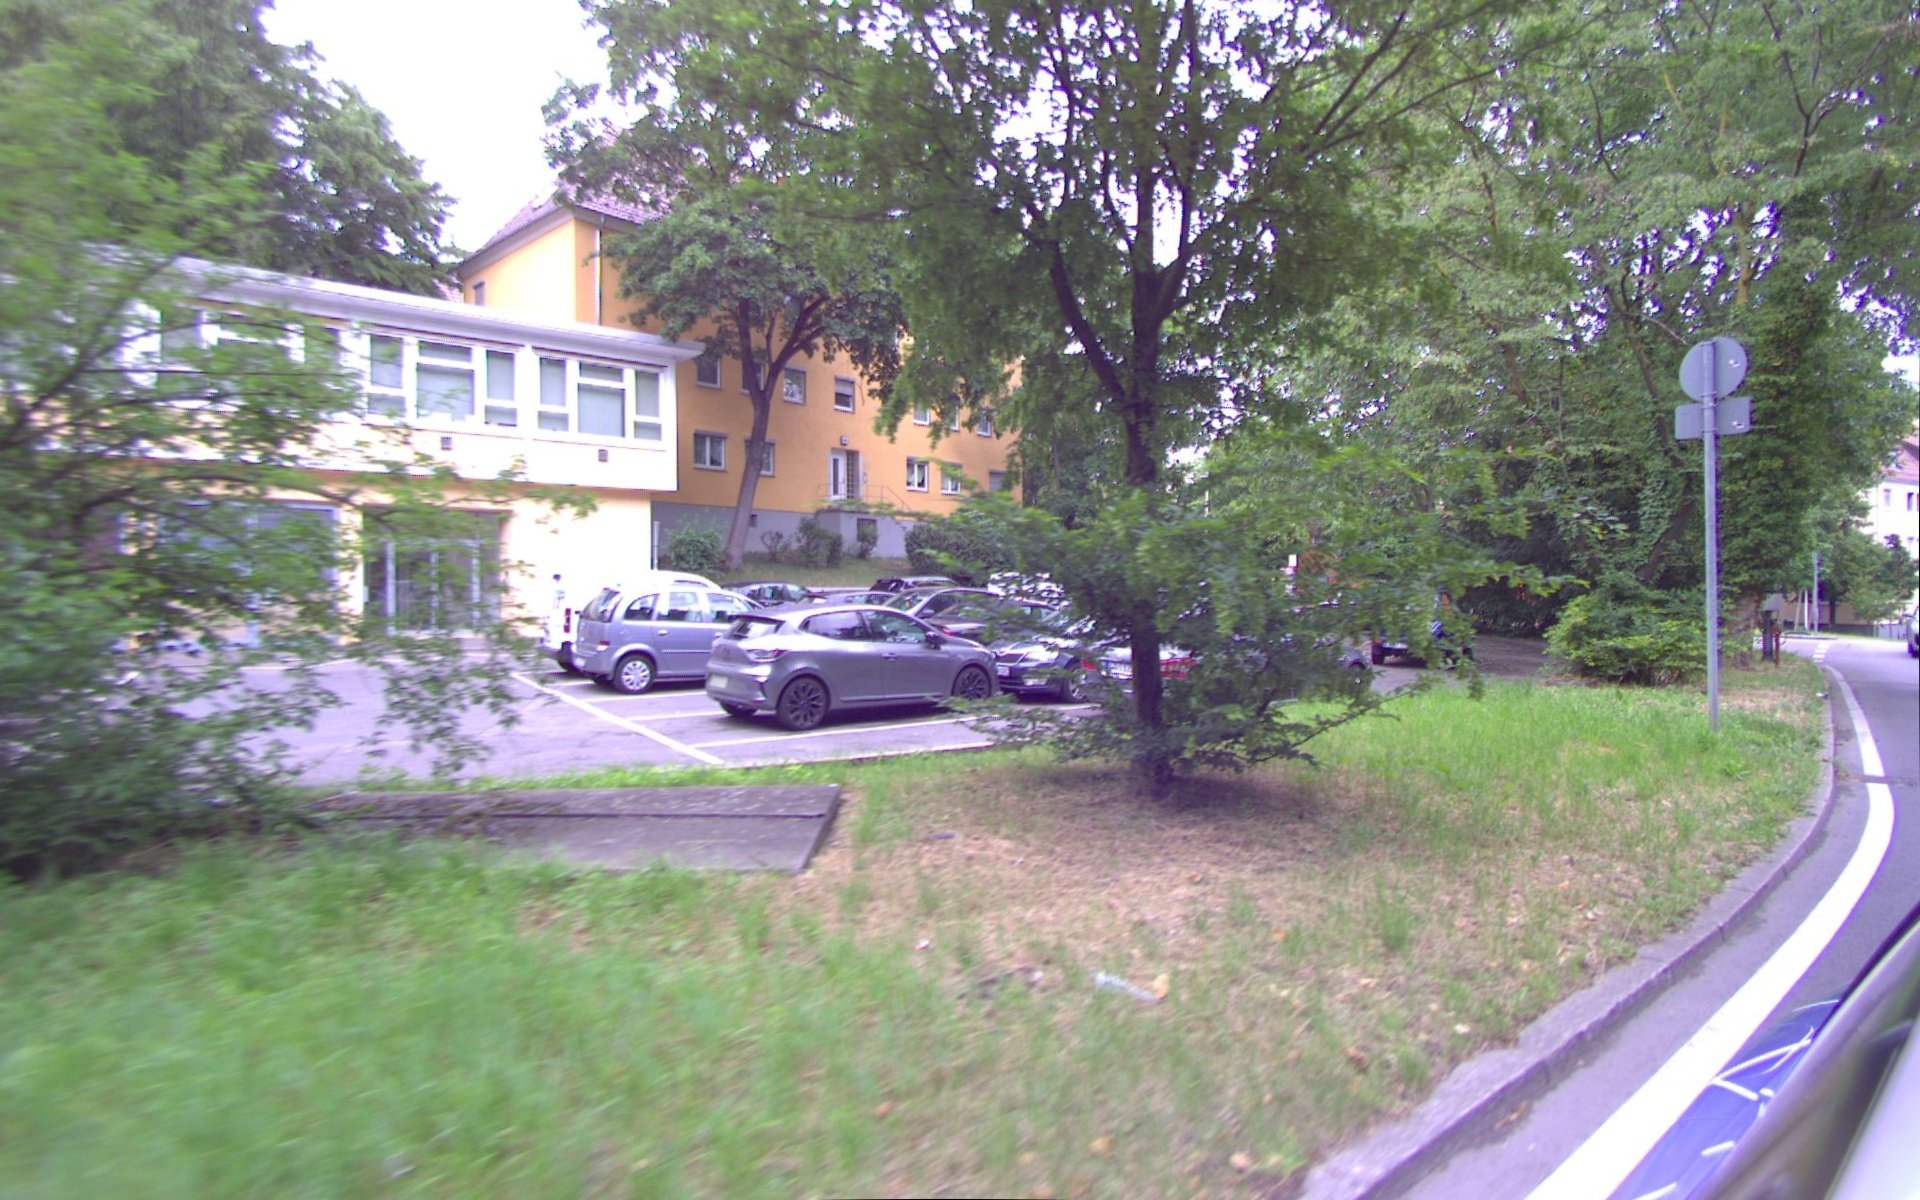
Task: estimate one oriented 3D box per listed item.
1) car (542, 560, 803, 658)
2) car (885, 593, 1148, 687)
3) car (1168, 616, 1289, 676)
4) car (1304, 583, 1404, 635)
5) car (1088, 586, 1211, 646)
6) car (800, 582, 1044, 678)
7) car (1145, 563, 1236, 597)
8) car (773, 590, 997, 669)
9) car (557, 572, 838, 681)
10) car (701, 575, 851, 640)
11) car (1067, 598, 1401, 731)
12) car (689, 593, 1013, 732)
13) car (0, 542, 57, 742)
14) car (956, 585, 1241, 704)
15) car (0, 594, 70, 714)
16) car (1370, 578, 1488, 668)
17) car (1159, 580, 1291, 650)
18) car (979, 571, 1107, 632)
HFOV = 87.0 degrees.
[{"bbox_3d":[-5.192,0.195,18.437,4.161,1.460,1.813,4,-2,-33],"label":"car"},{"bbox_3d":[1.066,0.610,17.426,4.511,1.396,1.789,0,1,-39],"label":"car"},{"bbox_3d":[8.472,1.359,31.610,1.989,1.598,4.840,2,1,37],"label":"car"},{"bbox_3d":[14.771,0.285,38.197,1.827,1.503,4.431,4,4,-2],"label":"car"},{"bbox_3d":[5.261,0.367,27.728,1.727,1.446,4.078,3,3,36],"label":"car"},{"bbox_3d":[-0.652,0.505,19.033,4.321,1.614,1.791,0,1,-35],"label":"car"},{"bbox_3d":[13.152,-1.125,57.878,4.817,1.811,1.767,0,3,38],"label":"car"},{"bbox_3d":[-1.500,0.558,20.951,4.321,1.464,1.791,0,1,-35],"label":"car"},{"bbox_3d":[-4.170,0.448,16.239,3.928,1.460,1.813,4,-2,-33],"label":"car"},{"bbox_3d":[-4.684,0.161,26.105,1.649,1.523,3.616,2,1,39],"label":"car"},{"bbox_3d":[3.838,0.732,13.657,4.971,1.460,1.789,0,1,-39],"label":"car"},{"bbox_3d":[-1.313,0.673,12.990,3.829,1.460,1.748,-1,2,-39],"label":"car"},{"bbox_3d":[-11.861,0.439,9.818,4.479,2.040,1.861,-1,0,-38],"label":"car"},{"bbox_3d":[2.254,0.595,15.735,4.511,1.578,1.789,0,1,-39],"label":"car"},{"bbox_3d":[-13.437,0.664,11.963,4.247,1.444,1.800,-1,0,-38],"label":"car"},{"bbox_3d":[10.427,0.391,22.298,1.801,1.685,4.831,2,3,31],"label":"car"},{"bbox_3d":[6.905,0.326,26.097,1.730,1.588,4.072,3,3,39],"label":"car"},{"bbox_3d":[2.897,-0.014,34.591,1.993,1.909,4.530,2,2,43],"label":"car"}]
